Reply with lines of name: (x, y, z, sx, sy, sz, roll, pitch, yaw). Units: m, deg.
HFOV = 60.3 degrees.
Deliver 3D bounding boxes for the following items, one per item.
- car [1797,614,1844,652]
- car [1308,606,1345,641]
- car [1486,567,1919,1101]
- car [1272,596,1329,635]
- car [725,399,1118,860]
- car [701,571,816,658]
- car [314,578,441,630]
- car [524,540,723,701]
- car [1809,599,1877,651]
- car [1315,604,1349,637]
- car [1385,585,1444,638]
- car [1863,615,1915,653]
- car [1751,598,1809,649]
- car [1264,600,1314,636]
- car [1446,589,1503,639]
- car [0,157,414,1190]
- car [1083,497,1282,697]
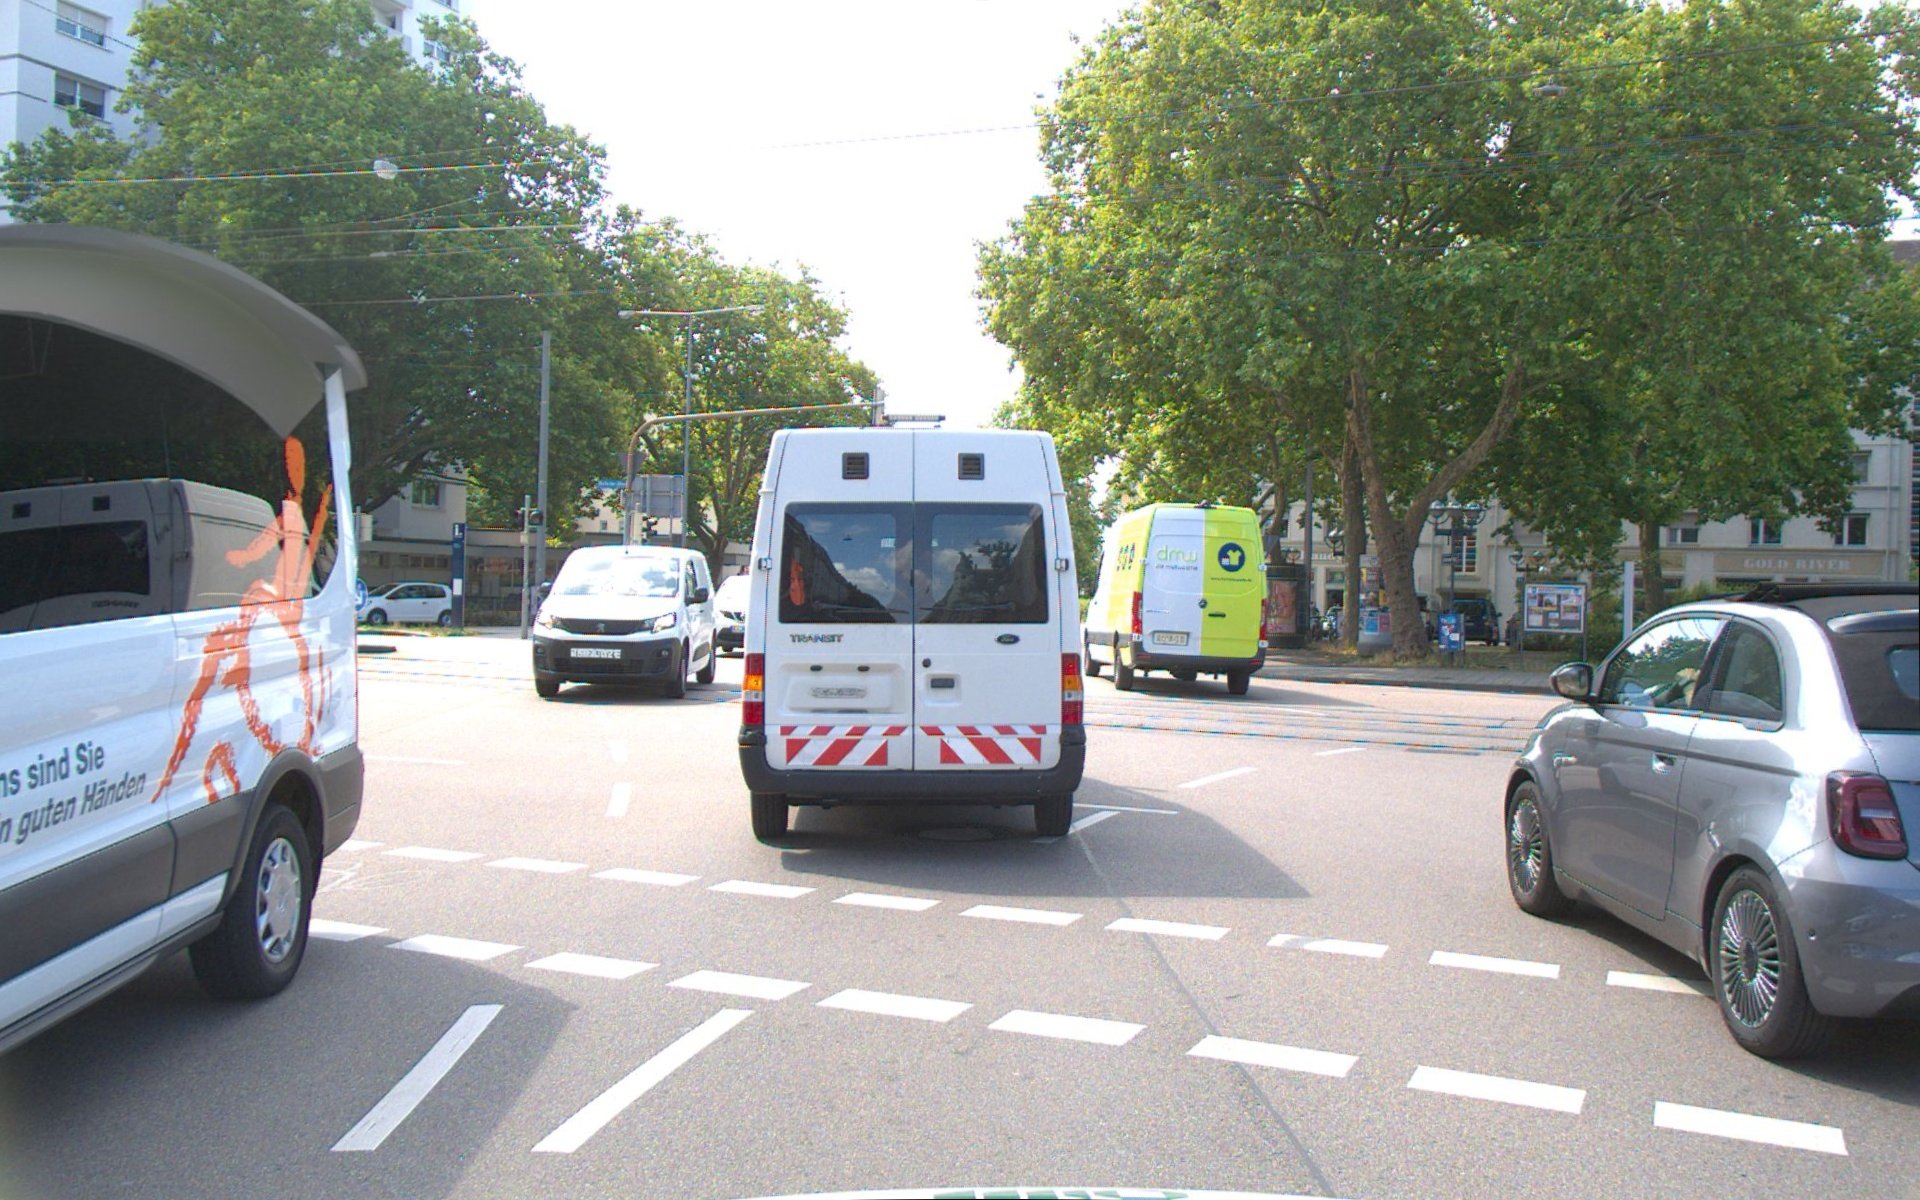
car: (40.278, 1.522, 77.456, 1.704, 1.666, 3.997, 1, 0, 24)
car: (15.805, 0.999, 71.287, 1.434, 1.413, 3.069, 1, 0, 14)
car: (3.459, 0.681, 6.575, 1.657, 1.564, 3.469, 1, 1, 1)
car: (15.840, 0.703, 76.720, 1.866, 1.719, 4.539, 1, 0, 21)
car: (-0.297, 0.131, 11.007, 2.006, 2.373, 4.712, 1, 1, -3)
car: (-3.972, 0.246, 33.205, 1.734, 1.610, 4.021, 1, 1, 1)
car: (-18.609, 0.140, 52.890, 3.541, 1.571, 1.536, 1, 0, -40)
car: (-4.118, 0.183, 20.858, 1.776, 1.806, 4.282, 0, 1, -2)
car: (36.282, 1.020, 68.032, 1.952, 2.049, 4.000, 1, 0, 21)
car: (19.489, 1.068, 86.569, 1.435, 1.695, 3.068, 1, 0, 19)
car: (20.250, 0.527, 73.540, 1.953, 2.221, 4.256, 1, 0, 23)
car: (42.811, 1.573, 76.277, 1.704, 1.666, 3.997, 1, 0, 24)
car: (34.118, 0.967, 68.908, 1.954, 2.049, 3.998, 1, 0, 24)
car: (17.435, 0.942, 87.417, 1.866, 1.827, 4.721, 1, 0, 20)
car: (22.762, 0.634, 73.095, 1.953, 2.112, 3.998, 1, 0, 23)
car: (-3.332, 0.154, 4.289, 2.035, 2.487, 5.943, 2, 1, -3)
car: (3.286, -0.060, 25.816, 2.076, 2.687, 6.327, 1, 0, -1)
